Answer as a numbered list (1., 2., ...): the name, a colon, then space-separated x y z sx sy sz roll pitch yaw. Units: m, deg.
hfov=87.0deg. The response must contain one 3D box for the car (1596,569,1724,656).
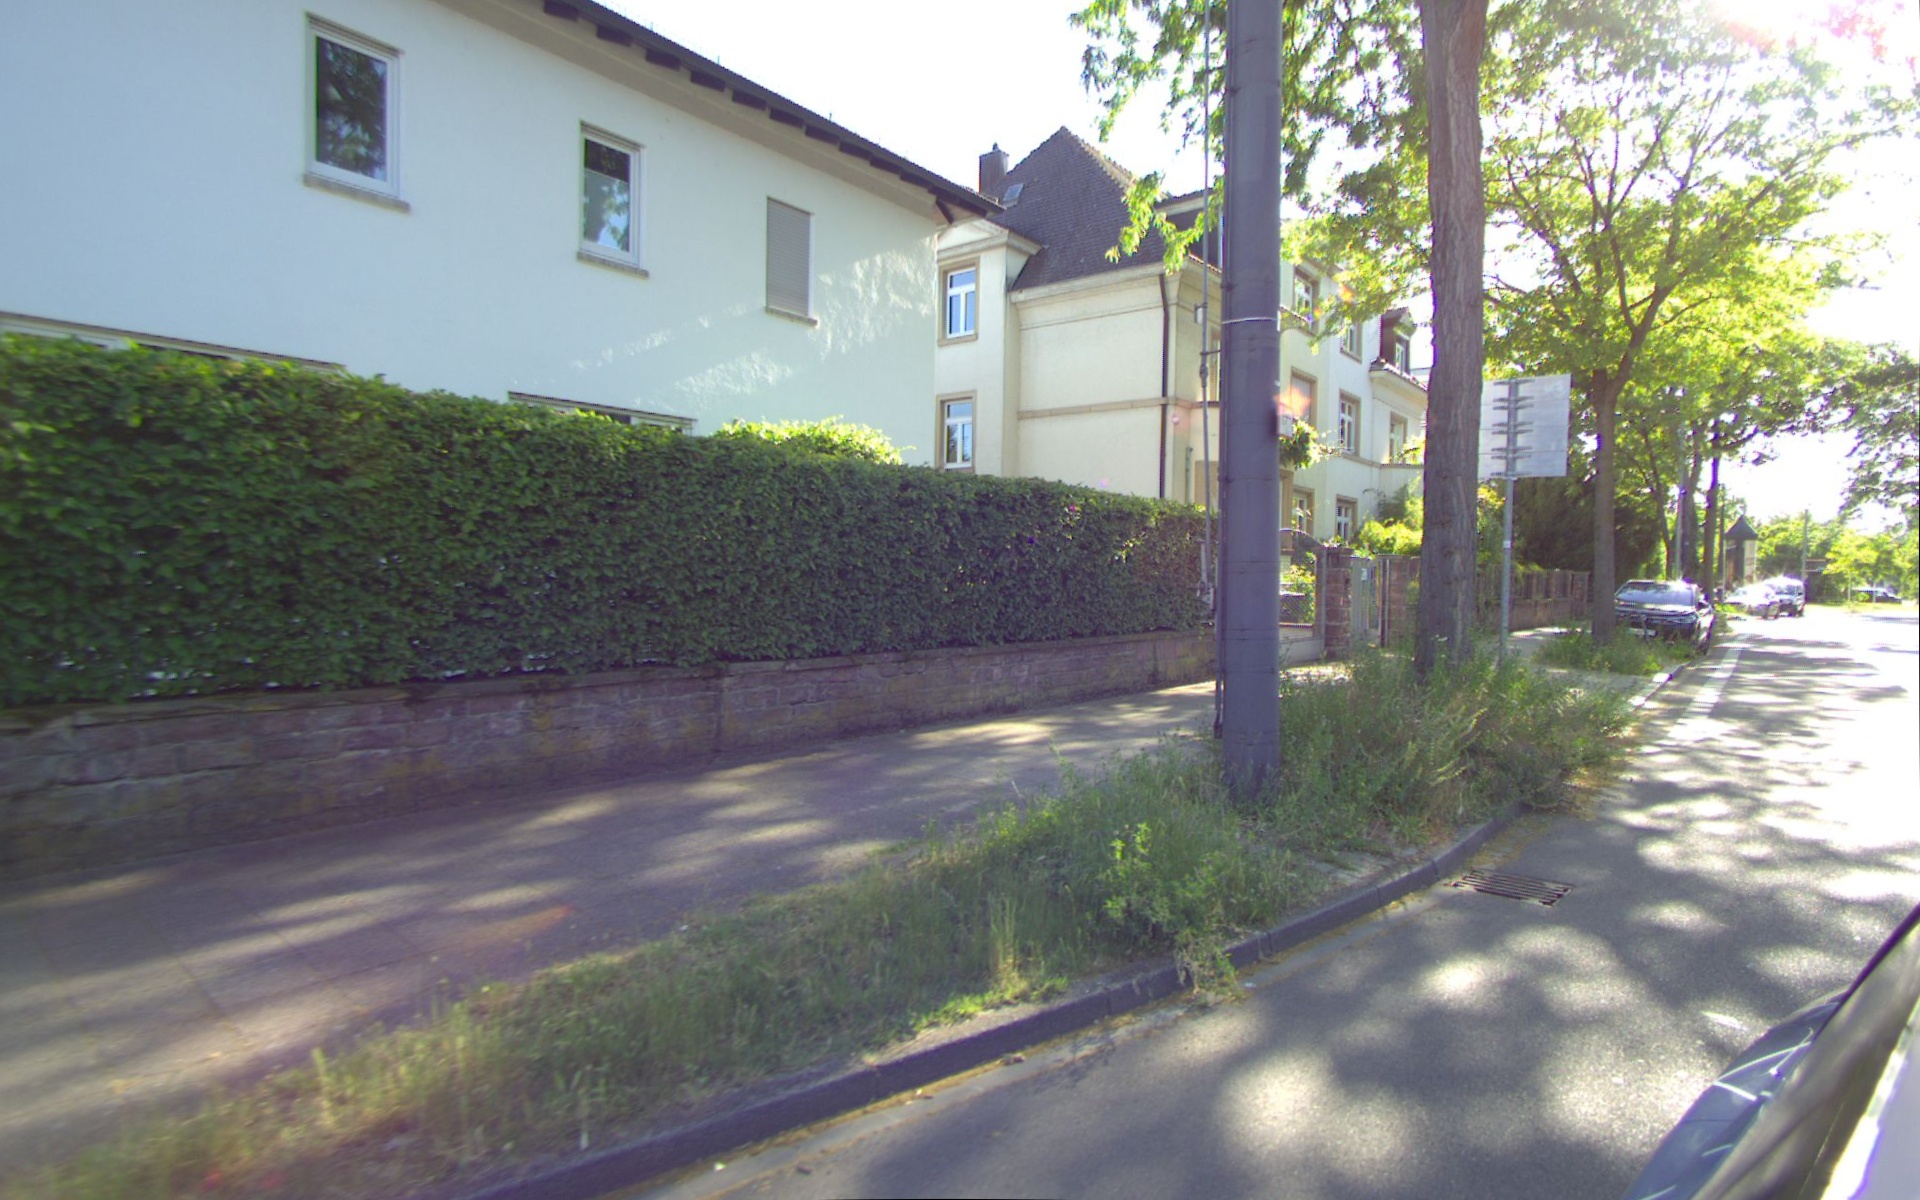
1. car: 15.755 0.188 22.691 1.991 1.765 4.111 1 2 40

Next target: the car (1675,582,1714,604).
1. car: 50.727 -0.525 69.871 1.736 1.460 3.939 1 2 42

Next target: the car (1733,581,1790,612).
1. car: 37.869 -0.200 47.775 1.715 1.356 3.856 2 2 44

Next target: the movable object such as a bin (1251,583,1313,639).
1. movable object such as a bin: 6.434 0.210 20.230 0.712 1.068 0.969 0 1 -23

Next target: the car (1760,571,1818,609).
1. car: 42.593 -0.567 51.952 1.900 1.852 4.180 1 2 45
